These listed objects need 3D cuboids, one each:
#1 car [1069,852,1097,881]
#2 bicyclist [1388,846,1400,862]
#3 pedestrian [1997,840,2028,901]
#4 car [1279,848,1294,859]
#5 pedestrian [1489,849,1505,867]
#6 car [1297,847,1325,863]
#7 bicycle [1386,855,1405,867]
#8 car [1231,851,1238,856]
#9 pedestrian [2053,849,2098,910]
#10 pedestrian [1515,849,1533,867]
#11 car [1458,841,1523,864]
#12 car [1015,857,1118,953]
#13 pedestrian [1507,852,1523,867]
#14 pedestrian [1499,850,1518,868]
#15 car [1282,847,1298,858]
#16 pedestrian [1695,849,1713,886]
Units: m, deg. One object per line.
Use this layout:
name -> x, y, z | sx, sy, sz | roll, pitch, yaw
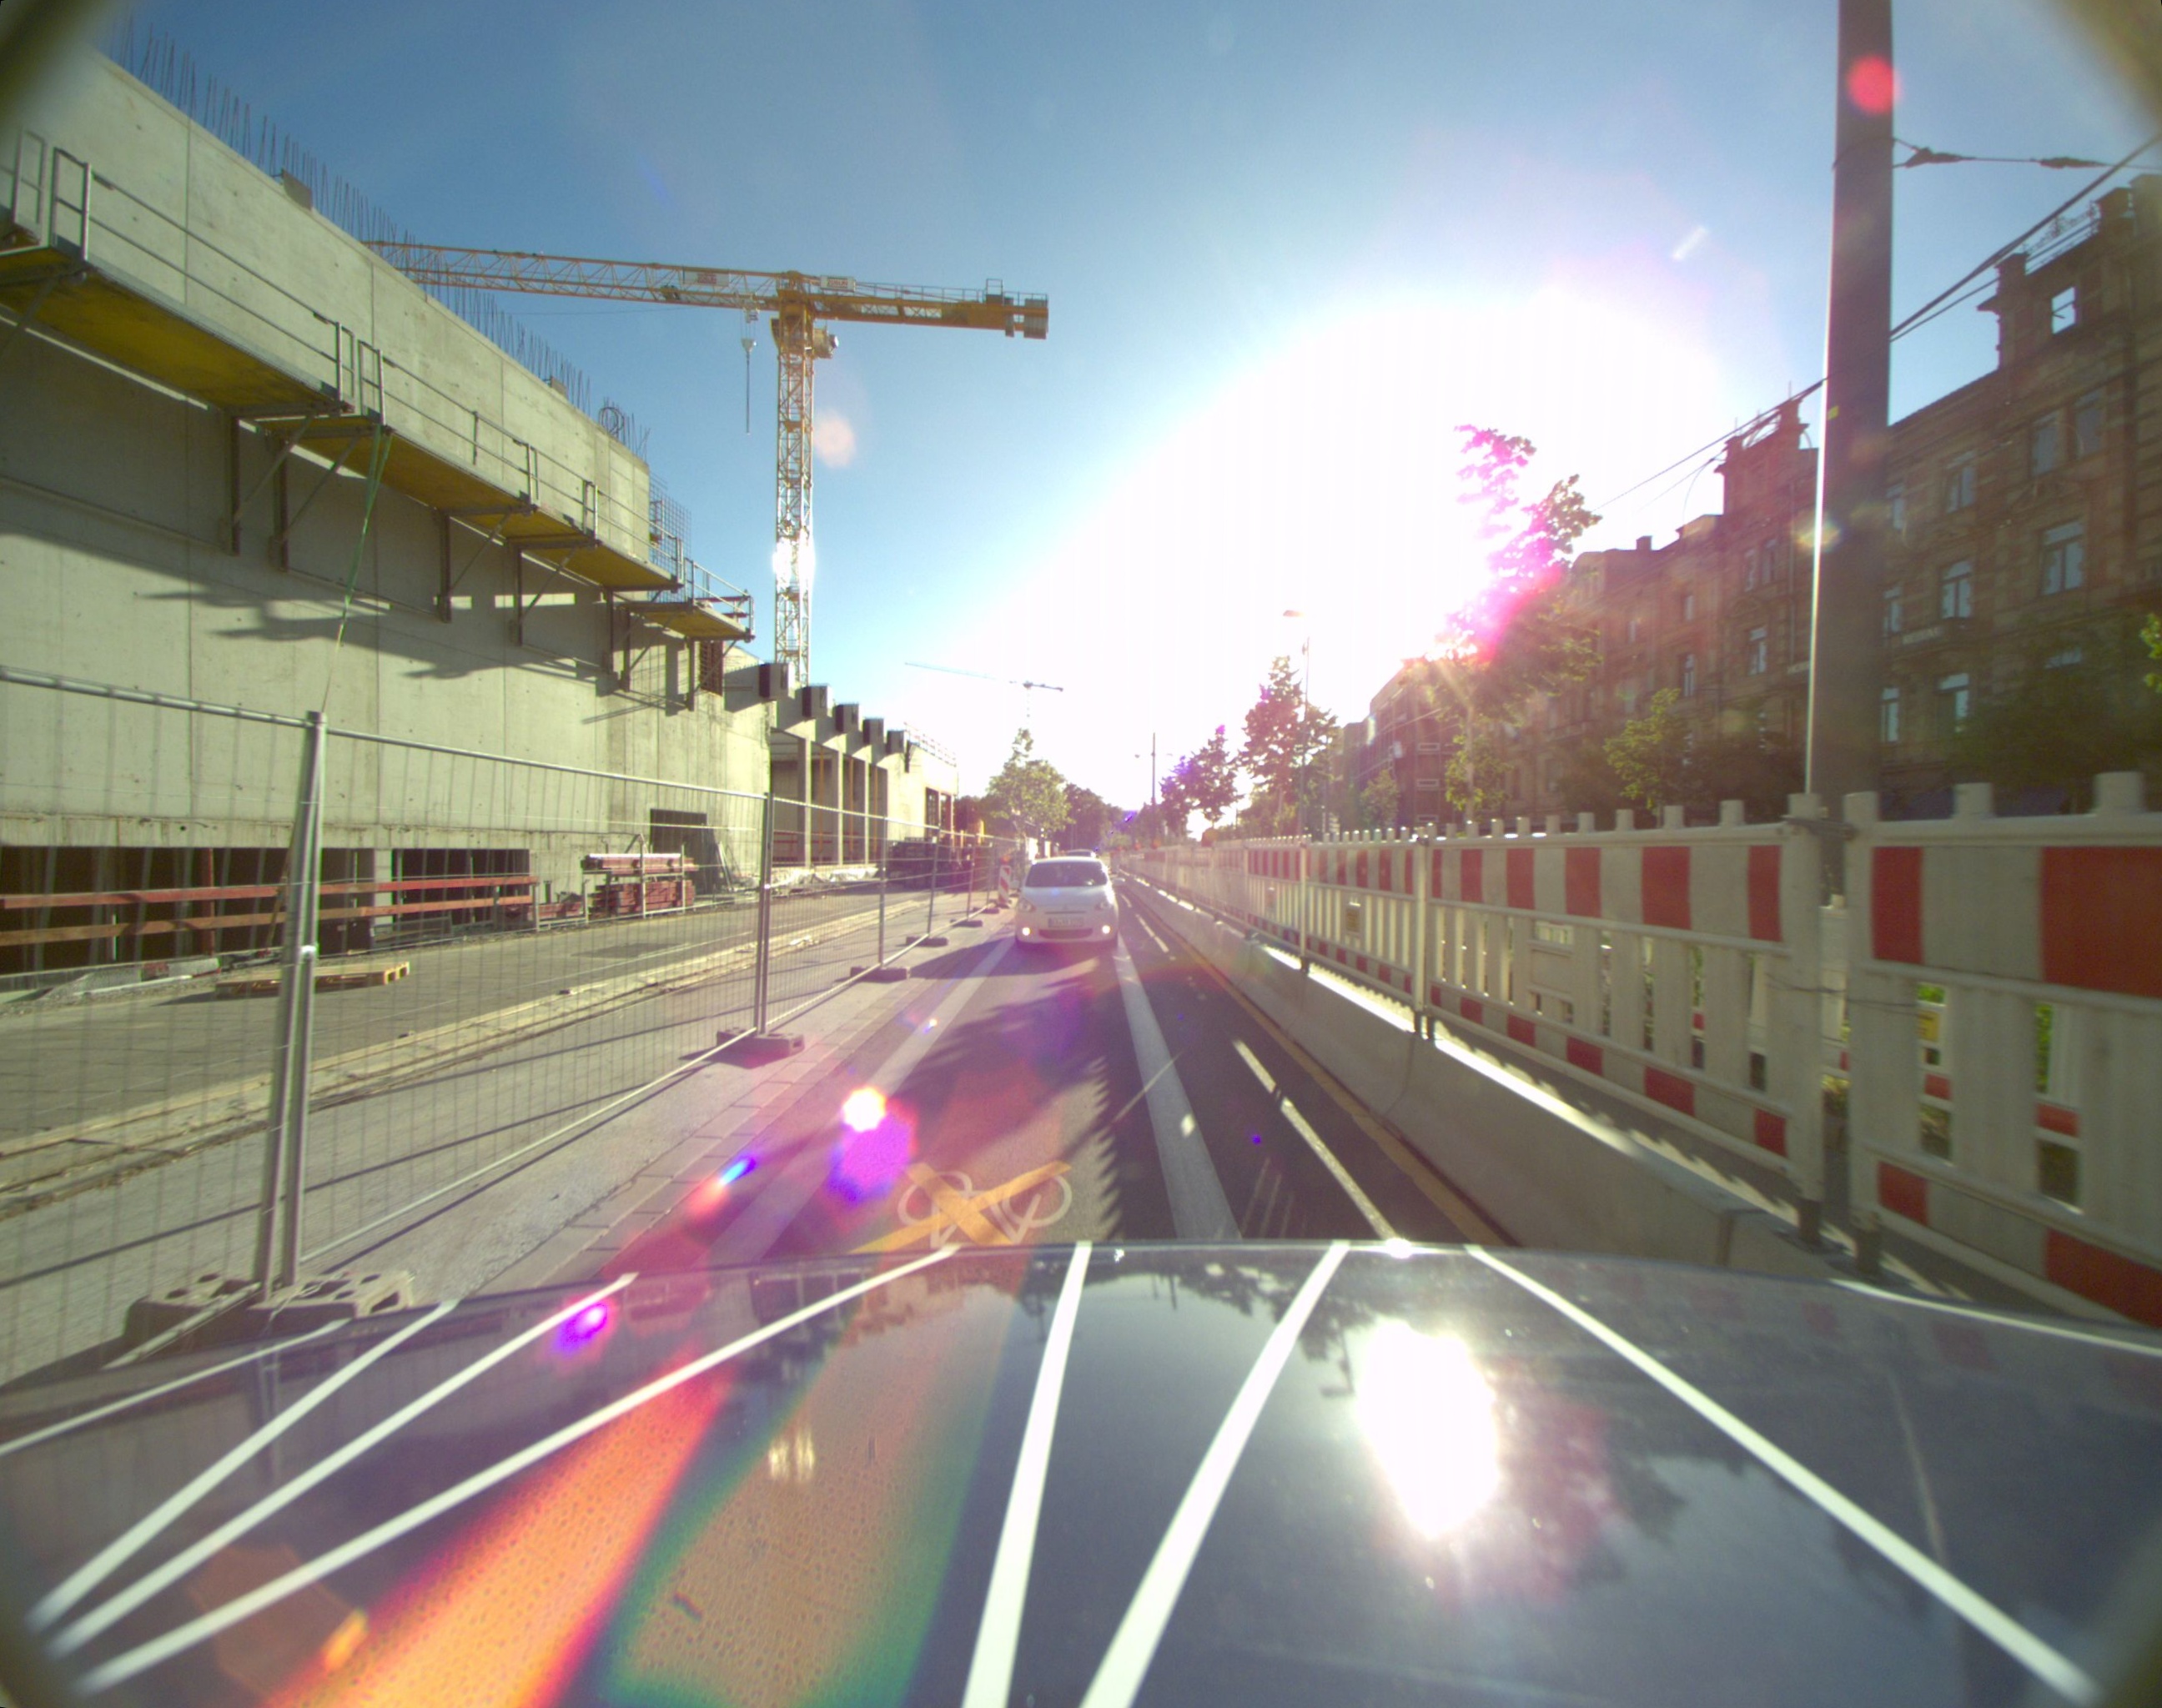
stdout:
car -> 0.124, 0.650, 41.441 | 1.458, 1.472, 3.527 | 0, 0, 1
bicyclist -> 23.416, -0.002, 56.877 | 0.639, 1.232, 0.738 | 0, 1, 2
pedestrian -> 27.291, 0.478, 22.263 | 0.367, 1.754, 0.406 | -2, 1, 1
car -> 29.391, -0.062, 108.732 | 1.741, 1.527, 3.887 | -1, 0, 9
pedestrian -> 29.676, 0.275, 54.210 | 0.692, 1.239, 0.929 | 0, 1, 2
car -> 21.131, 0.063, 69.987 | 1.598, 1.474, 3.623 | 0, 0, 3
bicycle -> 23.417, 0.491, 56.663 | 0.638, 0.853, 2.031 | 0, 0, 2
car -> 44.026, -0.198, 218.294 | 1.631, 1.487, 3.782 | 1, 0, 8
pedestrian -> 26.409, 0.671, 20.186 | 0.488, 1.575, 0.533 | -2, 1, 1
pedestrian -> 29.838, 0.256, 51.183 | 0.692, 1.201, 0.929 | 0, 1, 2
car -> 34.602, -0.120, 64.242 | 4.522, 1.892, 1.897 | 0, 1, -3
car -> -0.201, 0.837, 13.957 | 1.614, 1.488, 3.394 | -2, 0, 1
pedestrian -> 30.401, 0.397, 53.197 | 0.692, 1.053, 0.736 | 0, 1, 2
pedestrian -> 29.430, 0.330, 52.266 | 0.793, 1.201, 0.929 | 0, 1, 2
car -> 28.539, -0.163, 103.785 | 1.627, 1.433, 3.821 | -1, 0, 9
pedestrian -> 26.719, 0.562, 32.579 | 0.404, 1.575, 0.425 | -2, 1, 1
